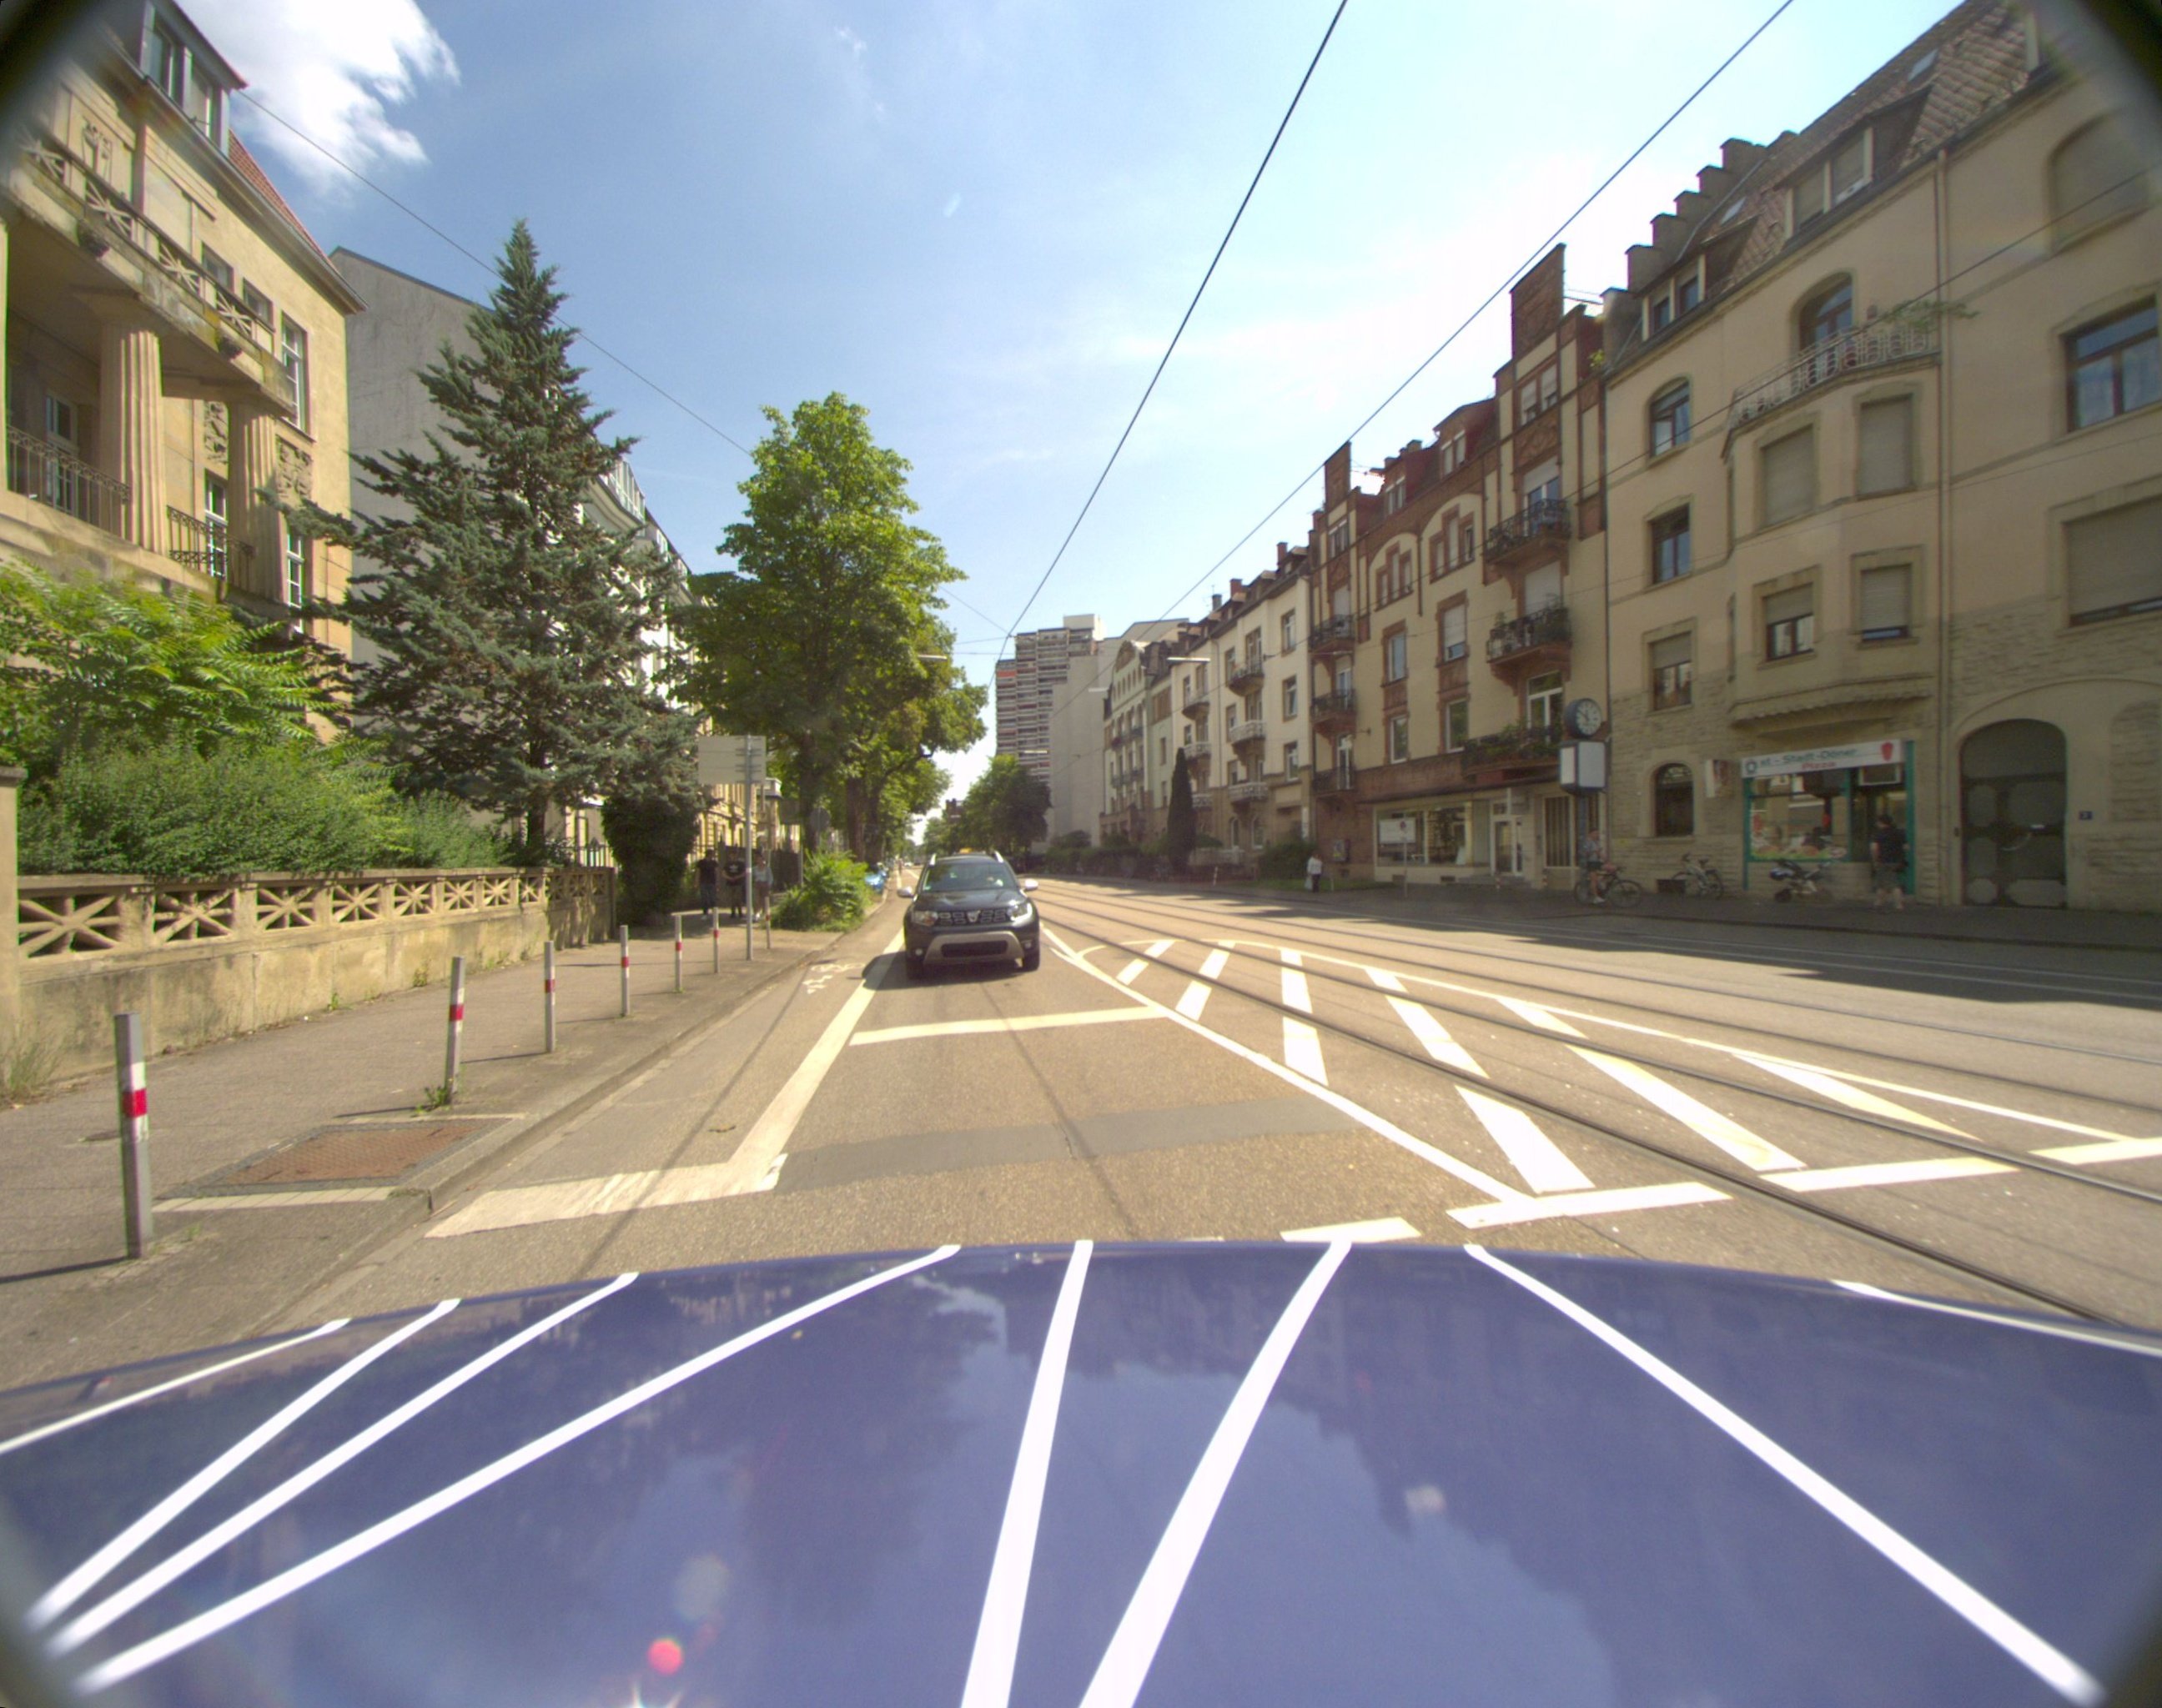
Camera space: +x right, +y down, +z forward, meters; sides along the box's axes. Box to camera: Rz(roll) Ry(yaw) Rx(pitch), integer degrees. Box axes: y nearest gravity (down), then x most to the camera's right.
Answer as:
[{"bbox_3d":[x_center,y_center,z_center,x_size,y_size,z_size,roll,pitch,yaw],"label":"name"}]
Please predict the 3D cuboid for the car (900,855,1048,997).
[{"bbox_3d":[-1.772,0.893,11.498,1.754,1.641,4.293,-3,0,-13],"label":"car"}]

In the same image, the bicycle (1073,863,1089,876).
[{"bbox_3d":[-0.002,1.159,57.684,0.608,0.993,1.777,-1,0,22],"label":"bicycle"}]

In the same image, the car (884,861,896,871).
[{"bbox_3d":[-28.282,1.769,112.532,1.628,1.394,3.995,1,-1,-13],"label":"car"}]

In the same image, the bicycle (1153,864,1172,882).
[{"bbox_3d":[4.545,1.062,42.611,0.412,0.955,1.839,-5,2,-13],"label":"bicycle"}]

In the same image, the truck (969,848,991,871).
[{"bbox_3d":[-13.428,0.729,100.902,2.309,2.903,6.508,-1,0,-12],"label":"truck"}]

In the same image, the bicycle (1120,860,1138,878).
[{"bbox_3d":[3.045,0.956,48.312,0.610,1.059,1.769,-5,1,-14],"label":"bicycle"}]

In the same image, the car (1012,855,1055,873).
[{"bbox_3d":[-5.058,1.049,81.847,1.956,1.914,4.596,-1,0,40],"label":"car"}]

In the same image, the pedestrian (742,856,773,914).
[{"bbox_3d":[-10.303,0.973,24.218,0.687,1.787,1.083,-1,0,-14],"label":"pedestrian"}]

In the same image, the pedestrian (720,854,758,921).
[{"bbox_3d":[-9.140,0.876,20.345,0.791,1.751,1.050,-1,0,-19],"label":"pedestrian"}]

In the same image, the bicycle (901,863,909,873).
[{"bbox_3d":[-20.125,1.607,86.846,0.813,1.089,2.171,-1,0,-15],"label":"bicycle"}]

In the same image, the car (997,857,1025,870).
[{"bbox_3d":[-8.951,1.241,97.270,1.678,1.565,3.692,0,0,34],"label":"car"}]

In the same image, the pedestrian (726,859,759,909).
[{"bbox_3d":[-11.307,0.979,25.397,0.860,1.636,0.835,-1,0,-16],"label":"pedestrian"}]

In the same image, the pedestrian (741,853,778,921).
[{"bbox_3d":[-8.625,0.872,20.442,0.707,1.766,0.946,-1,0,-11],"label":"pedestrian"}]

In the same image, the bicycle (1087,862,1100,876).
[{"bbox_3d":[0.947,1.103,56.772,0.466,0.993,1.706,-5,1,-13],"label":"bicycle"}]

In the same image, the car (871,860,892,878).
[{"bbox_3d":[-18.927,1.407,72.203,1.736,1.606,4.079,1,-1,-13],"label":"car"}]

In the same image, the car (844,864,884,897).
[{"bbox_3d":[-10.138,1.210,35.694,1.683,1.435,3.716,-1,0,-14],"label":"car"}]

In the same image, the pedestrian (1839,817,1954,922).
[{"bbox_3d":[15.637,0.290,14.604,0.904,1.880,1.163,-4,1,-14],"label":"pedestrian"}]

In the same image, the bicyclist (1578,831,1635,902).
[{"bbox_3d":[12.745,0.292,18.431,0.758,1.653,0.830,-1,0,-10],"label":"bicyclist"}]

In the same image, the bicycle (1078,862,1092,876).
[{"bbox_3d":[0.328,1.173,59.973,0.610,1.026,1.769,-5,1,-14],"label":"bicycle"}]

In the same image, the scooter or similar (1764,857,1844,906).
[{"bbox_3d":[16.321,0.612,17.184,1.206,1.038,0.697,-2,1,36],"label":"scooter or similar"}]

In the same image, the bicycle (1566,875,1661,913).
[{"bbox_3d":[12.804,0.945,18.341,0.755,0.813,1.818,-1,0,-15],"label":"bicycle"}]

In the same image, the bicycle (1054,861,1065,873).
[{"bbox_3d":[-1.987,1.198,69.128,0.610,0.983,1.706,-5,1,-14],"label":"bicycle"}]

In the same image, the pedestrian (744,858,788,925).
[{"bbox_3d":[-8.076,0.940,19.506,0.769,1.641,0.973,-1,0,-7],"label":"pedestrian"}]

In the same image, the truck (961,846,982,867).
[{"bbox_3d":[-22.179,0.526,154.510,2.675,4.155,10.473,-1,0,0],"label":"truck"}]

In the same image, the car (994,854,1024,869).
[{"bbox_3d":[-9.549,0.971,100.784,1.598,2.030,4.061,-1,0,36],"label":"car"}]

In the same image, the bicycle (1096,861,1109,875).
[{"bbox_3d":[1.536,0.988,55.021,0.414,0.960,1.724,-5,1,-13],"label":"bicycle"}]

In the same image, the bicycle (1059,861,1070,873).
[{"bbox_3d":[-1.465,1.157,67.265,0.610,0.983,1.706,-5,1,-14],"label":"bicycle"}]

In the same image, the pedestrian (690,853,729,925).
[{"bbox_3d":[-9.547,0.874,19.564,0.663,1.801,0.976,-1,0,-14],"label":"pedestrian"}]

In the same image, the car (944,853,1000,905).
[{"bbox_3d":[-4.335,0.921,29.715,1.754,1.806,4.303,-4,0,-13],"label":"car"}]

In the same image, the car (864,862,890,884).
[{"bbox_3d":[-14.395,1.332,53.828,1.697,1.444,3.469,-1,0,-14],"label":"car"}]

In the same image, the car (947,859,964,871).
[{"bbox_3d":[-15.667,1.381,94.741,1.829,1.405,4.424,-2,0,-11],"label":"car"}]

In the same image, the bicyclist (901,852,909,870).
[{"bbox_3d":[-20.115,0.818,86.781,0.774,2.002,0.807,-1,0,-17],"label":"bicyclist"}]

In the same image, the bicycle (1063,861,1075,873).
[{"bbox_3d":[-1.049,1.148,65.317,0.610,0.970,1.769,-5,1,-14],"label":"bicycle"}]

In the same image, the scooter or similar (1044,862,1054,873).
[{"bbox_3d":[-3.145,1.308,74.051,0.407,1.014,1.221,-1,0,-29],"label":"scooter or similar"}]

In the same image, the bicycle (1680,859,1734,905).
[{"bbox_3d":[15.672,0.678,19.067,0.370,1.060,1.466,-2,1,10],"label":"bicycle"}]

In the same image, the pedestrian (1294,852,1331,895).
[{"bbox_3d":[8.501,0.701,27.939,0.904,1.533,0.983,-1,0,-15],"label":"pedestrian"}]

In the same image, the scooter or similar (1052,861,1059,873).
[{"bbox_3d":[-2.336,1.202,70.776,0.407,1.113,1.289,-1,0,-12],"label":"scooter or similar"}]

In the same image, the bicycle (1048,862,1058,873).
[{"bbox_3d":[-2.673,1.283,72.471,0.610,0.983,1.706,-5,1,-14],"label":"bicycle"}]
